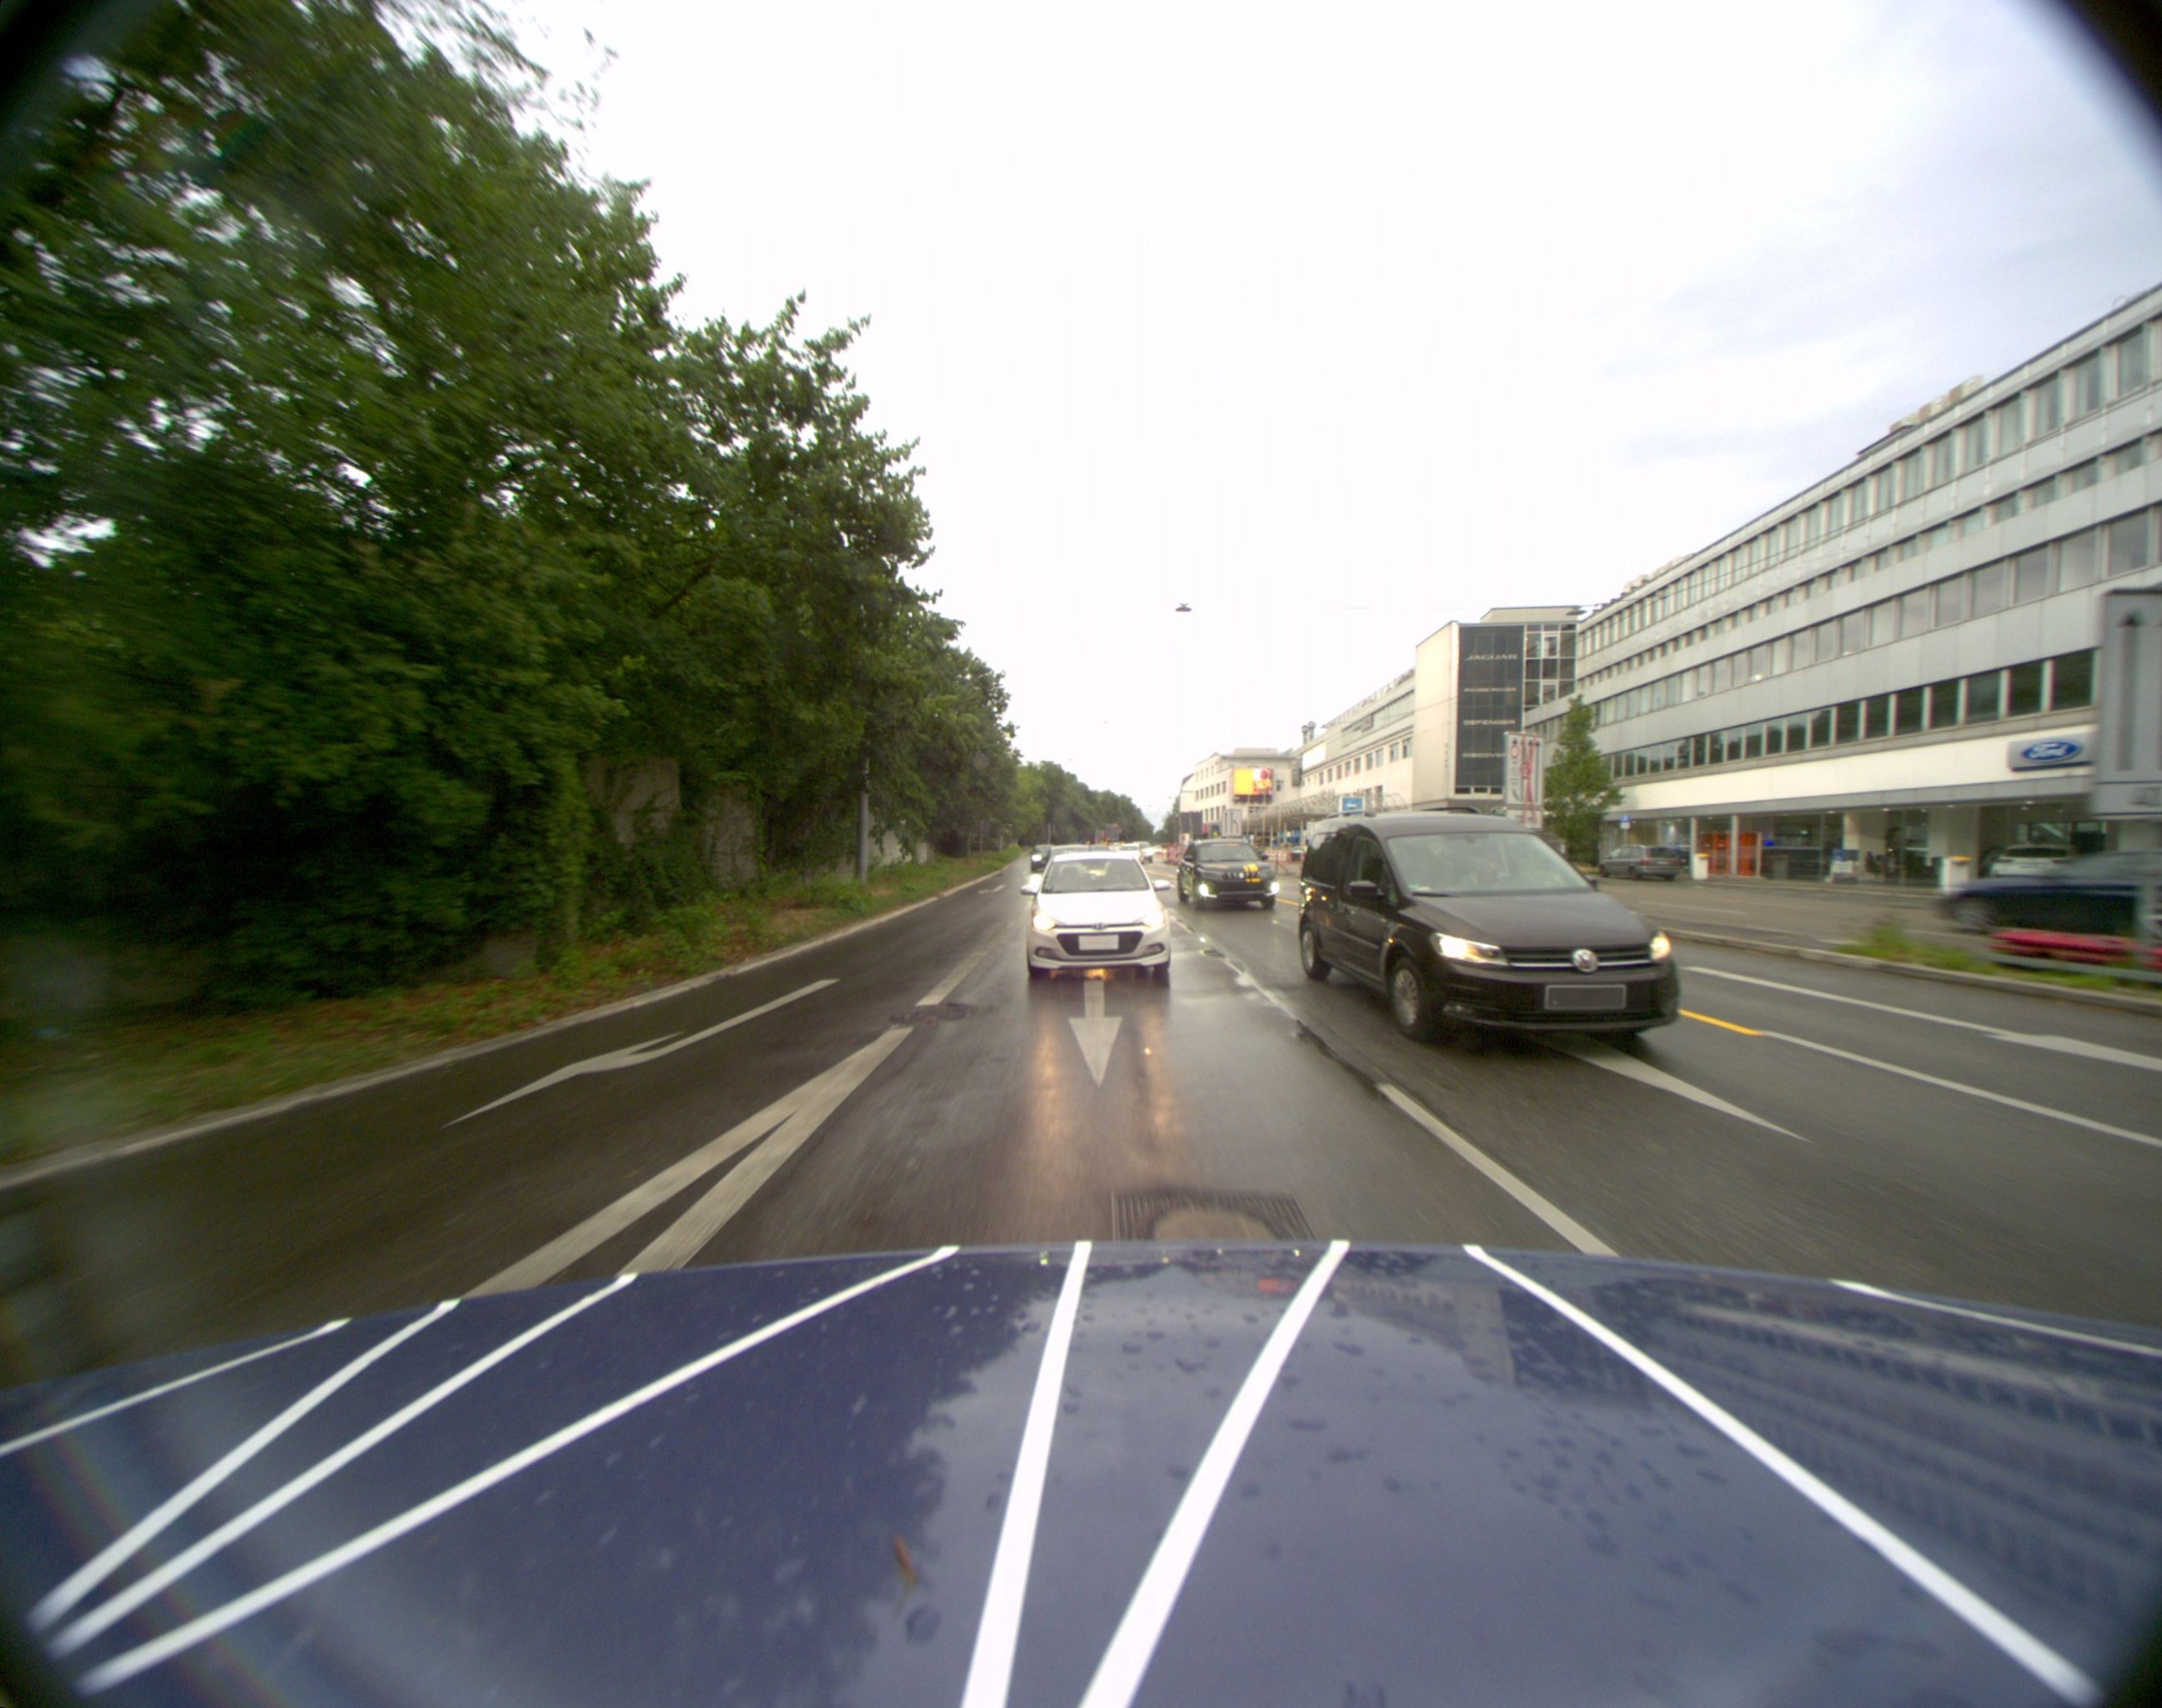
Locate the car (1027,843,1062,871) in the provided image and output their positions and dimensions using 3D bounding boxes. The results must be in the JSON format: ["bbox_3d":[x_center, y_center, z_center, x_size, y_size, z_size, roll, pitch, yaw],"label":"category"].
[{"bbox_3d":[-2.186,0.147,47.062,1.814,1.590,4.332,-3,1,1],"label":"car"}]

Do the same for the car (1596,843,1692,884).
[{"bbox_3d":[28.033,0.422,38.008,1.922,1.805,4.166,-2,1,5],"label":"car"}]

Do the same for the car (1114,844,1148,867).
[{"bbox_3d":[3.507,0.072,52.744,1.770,1.407,4.336,-2,1,10],"label":"car"}]

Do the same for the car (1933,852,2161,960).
[{"bbox_3d":[15.173,0.698,10.681,1.690,1.411,4.214,1,1,2],"label":"car"}]

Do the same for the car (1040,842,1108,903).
[{"bbox_3d":[-0.147,0.473,23.046,1.814,1.590,4.332,-3,1,1],"label":"car"}]

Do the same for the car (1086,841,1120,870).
[{"bbox_3d":[1.284,0.057,45.996,1.814,1.590,4.332,-3,1,0],"label":"car"}]

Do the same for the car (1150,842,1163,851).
[{"bbox_3d":[13.626,-1.393,136.898,1.806,1.523,3.763,2,0,-1],"label":"car"}]

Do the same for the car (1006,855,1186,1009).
[{"bbox_3d":[0.196,0.814,10.055,1.814,1.444,4.332,-3,1,1],"label":"car"}]

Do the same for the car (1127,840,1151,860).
[{"bbox_3d":[4.976,-0.378,65.373,1.771,1.608,3.948,-3,1,1],"label":"car"}]

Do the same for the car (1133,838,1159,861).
[{"bbox_3d":[5.070,-0.376,59.781,1.771,1.628,4.333,-3,1,1],"label":"car"}]

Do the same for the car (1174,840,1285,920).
[{"bbox_3d":[3.388,0.506,18.116,1.814,1.590,4.332,-3,1,1],"label":"car"}]

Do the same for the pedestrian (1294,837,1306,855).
[{"bbox_3d":[22.698,-0.852,78.694,0.895,1.804,0.941,-2,2,4],"label":"pedestrian"}]

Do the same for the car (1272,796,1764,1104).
[{"bbox_3d":[3.228,0.553,6.850,1.905,1.804,4.430,-3,1,1],"label":"car"}]
